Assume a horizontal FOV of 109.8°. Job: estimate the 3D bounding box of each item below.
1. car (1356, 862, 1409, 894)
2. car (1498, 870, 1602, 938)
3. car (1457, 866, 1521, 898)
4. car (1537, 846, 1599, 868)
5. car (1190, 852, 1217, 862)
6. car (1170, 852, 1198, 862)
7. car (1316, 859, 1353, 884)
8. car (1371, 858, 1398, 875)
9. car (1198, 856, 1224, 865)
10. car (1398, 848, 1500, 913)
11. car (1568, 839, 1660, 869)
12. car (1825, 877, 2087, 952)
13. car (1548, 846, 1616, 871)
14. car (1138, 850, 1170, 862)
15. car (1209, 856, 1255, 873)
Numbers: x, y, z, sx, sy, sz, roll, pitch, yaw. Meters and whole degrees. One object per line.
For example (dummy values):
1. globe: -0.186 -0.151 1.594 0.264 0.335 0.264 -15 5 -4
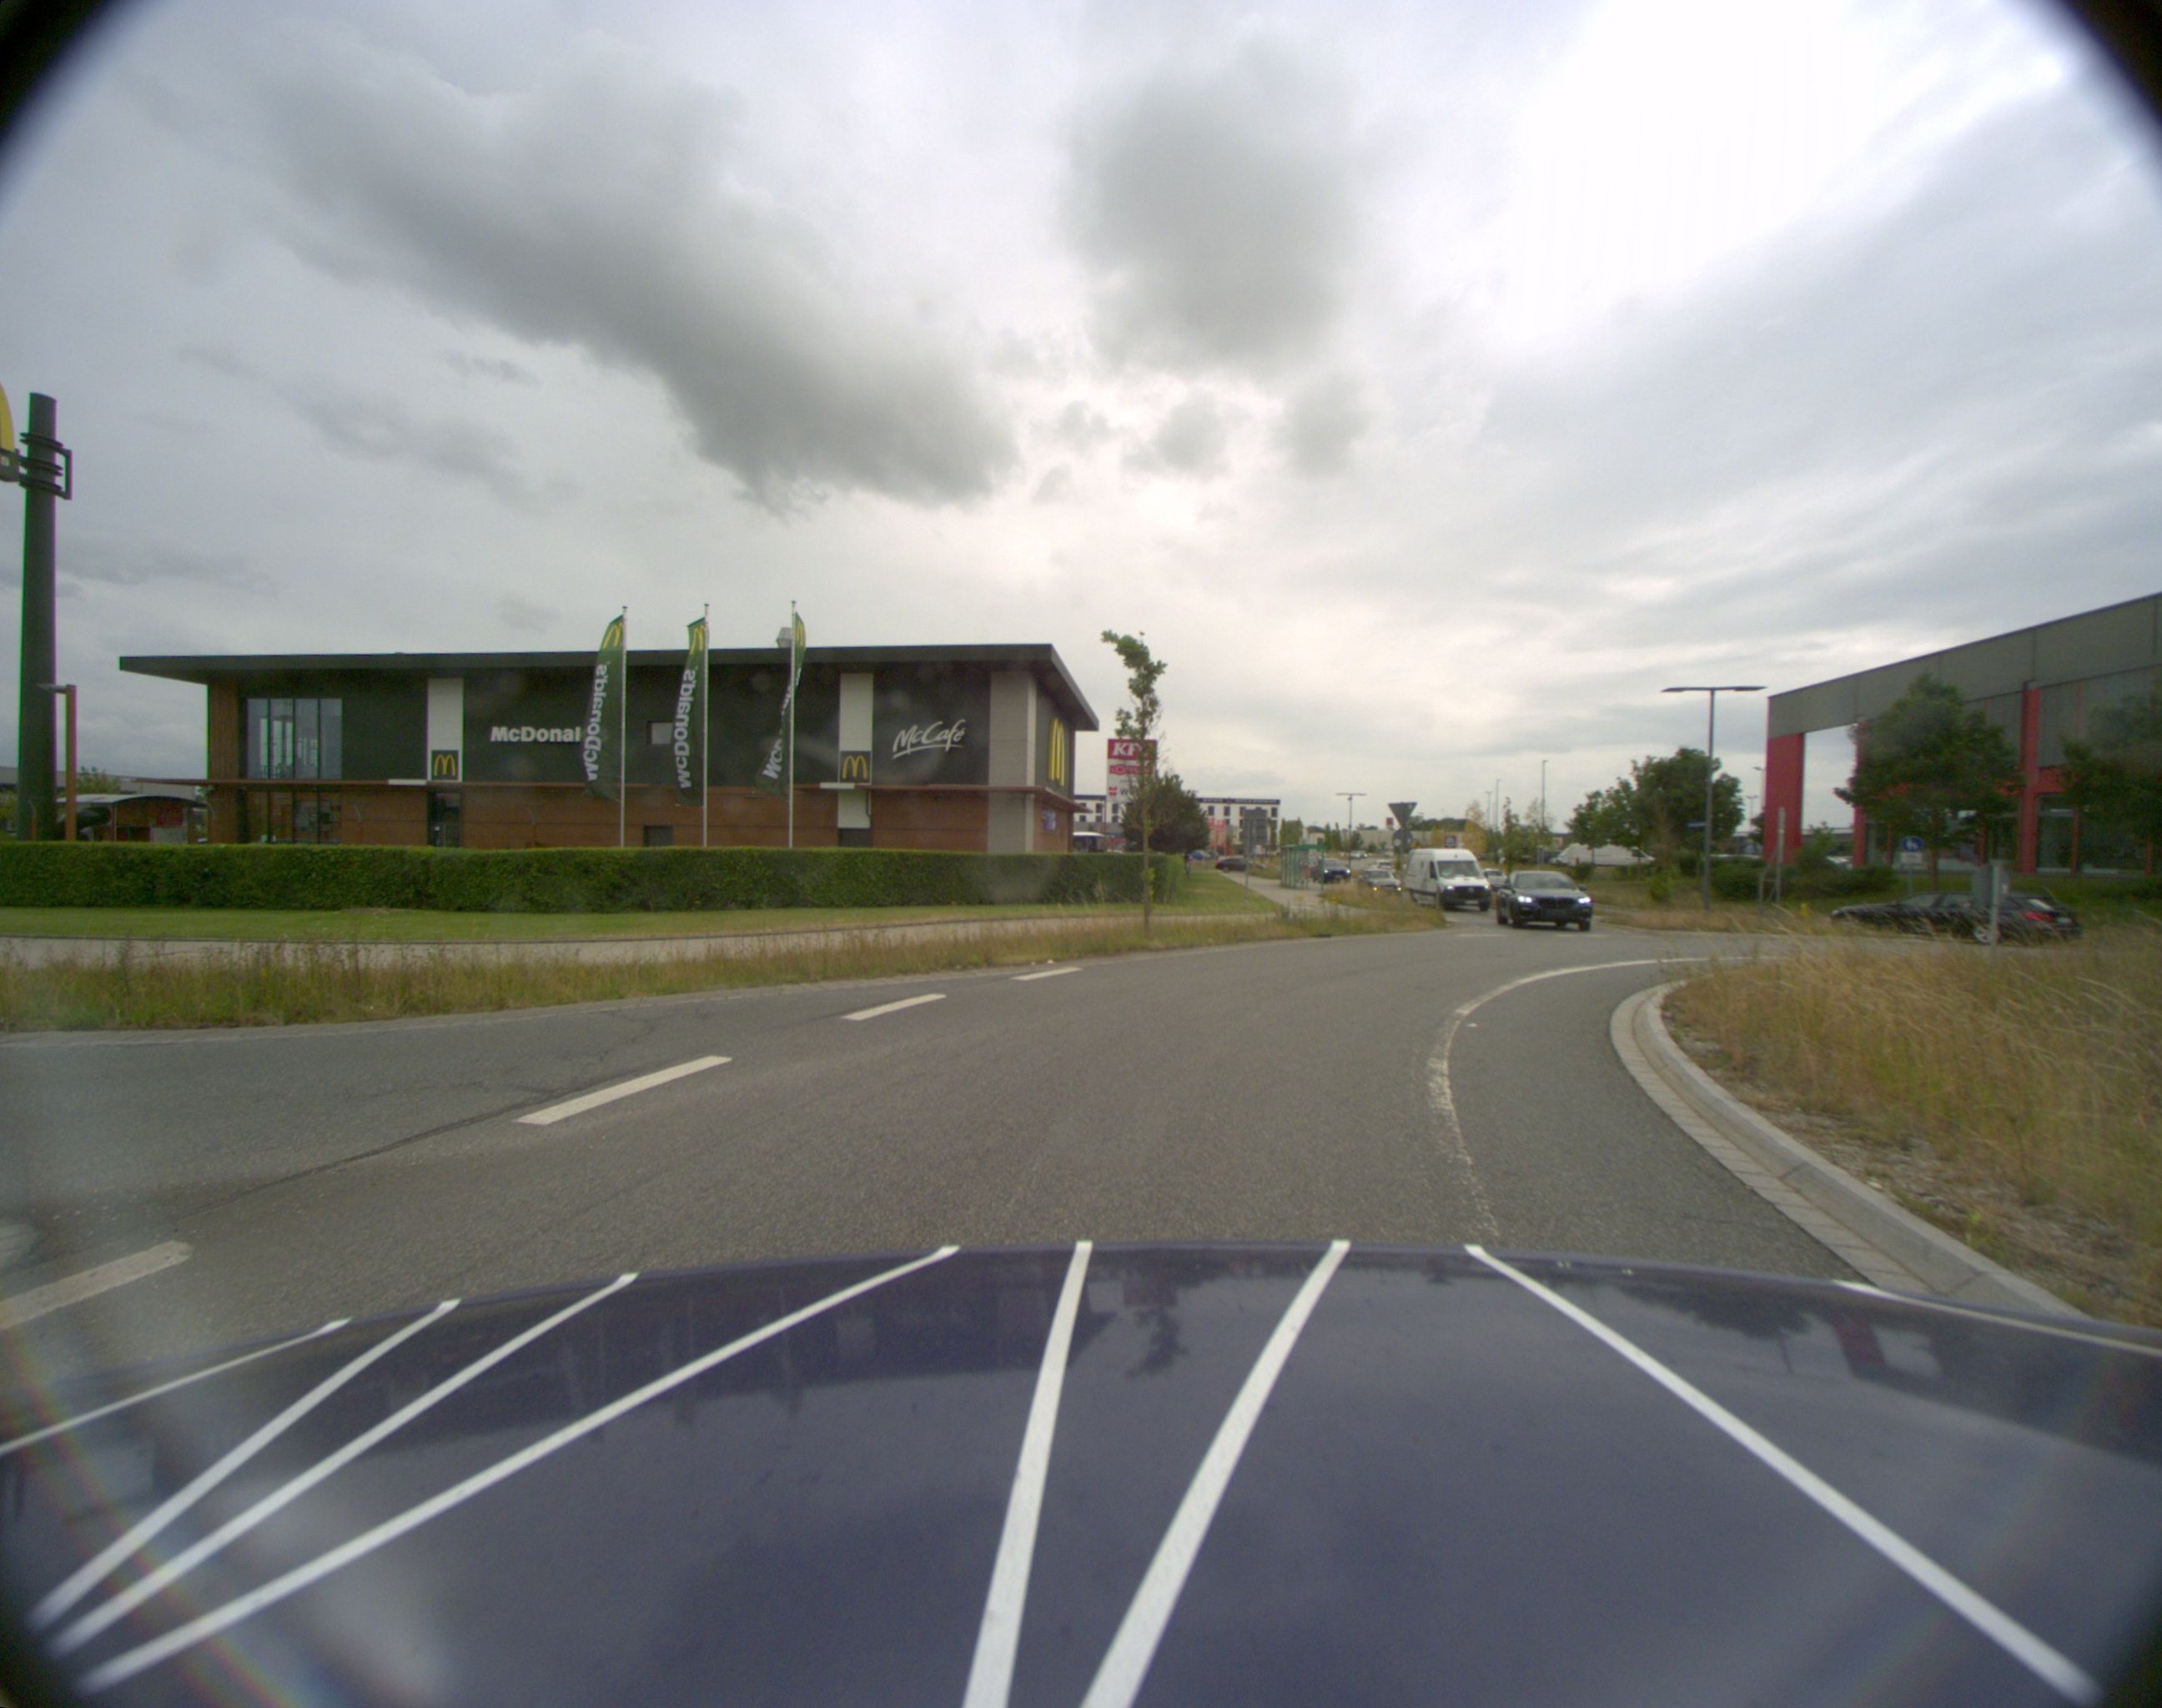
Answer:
1. car: 17.102 1.329 43.317 1.866 1.598 4.002 1 1 8
2. car: 13.292 1.324 21.772 1.864 1.598 4.006 1 1 22
3. car: 24.418 1.621 45.651 1.731 1.549 4.086 5 2 4
4. car: 51.127 0.289 79.912 5.047 2.211 2.067 1 1 14
5. car: 20.039 0.498 124.408 3.990 1.478 1.850 0 2 24
6. car: 15.769 0.406 116.237 3.991 1.477 1.850 1 1 19
7. car: 18.630 1.257 55.947 1.866 1.598 4.002 1 1 8
8. car: 27.678 1.121 69.464 1.724 1.400 4.650 2 0 15
9. car: 21.586 1.112 126.341 3.990 1.478 1.850 0 2 24
10. car: 15.956 1.024 33.400 2.025 2.513 6.107 1 1 6
11. car: 47.292 -0.020 67.572 6.409 2.609 2.066 0 2 11
12. car: 23.904 1.559 21.037 2.001 1.599 4.291 -1 2 -14
13. car: 47.808 0.414 72.642 5.050 2.359 2.065 -1 2 7
14. car: 9.865 0.203 102.068 3.992 1.513 1.849 1 1 15
15. car: 13.624 0.931 68.661 3.993 1.478 1.848 0 2 10
